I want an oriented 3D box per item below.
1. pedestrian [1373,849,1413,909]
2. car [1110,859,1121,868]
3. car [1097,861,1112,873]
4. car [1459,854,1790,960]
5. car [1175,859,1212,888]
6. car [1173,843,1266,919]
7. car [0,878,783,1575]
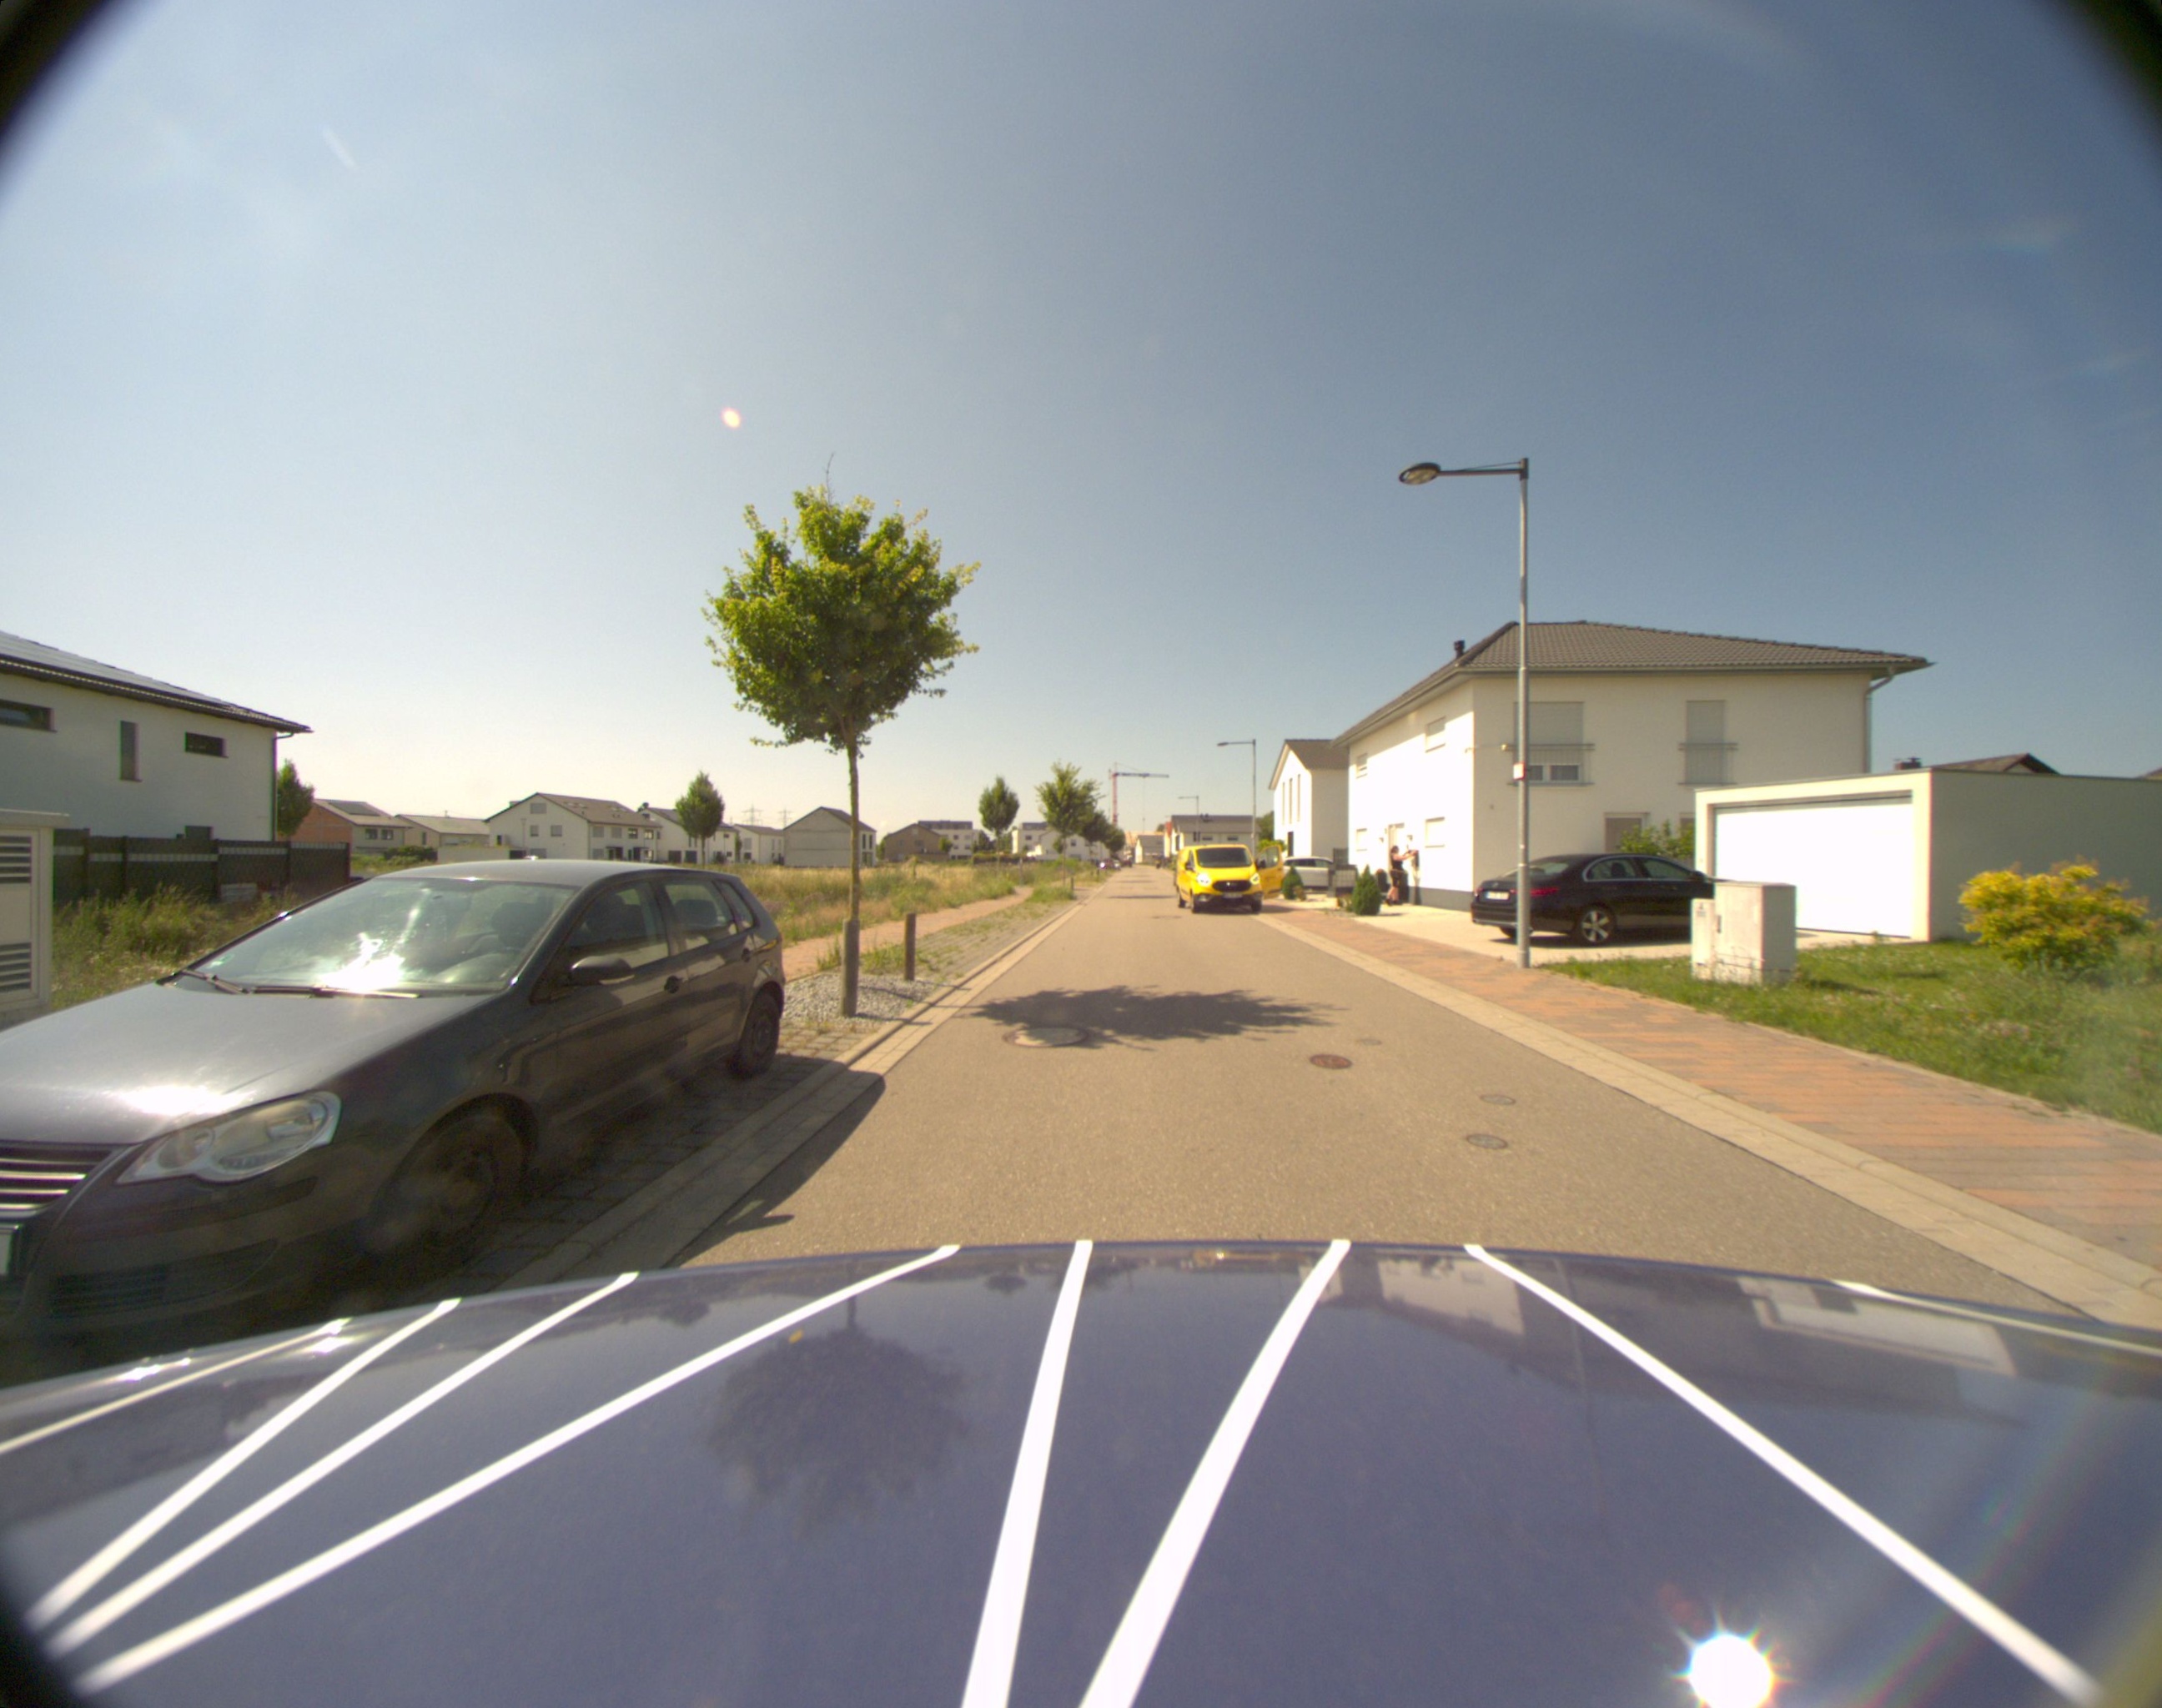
[{"bbox_3d":[8.963,0.710,21.844,0.931,1.675,0.538,-3,0,13],"label":"pedestrian"},{"bbox_3d":[5.212,1.388,114.654,1.492,1.389,3.273,0,0,4],"label":"car"},{"bbox_3d":[2.956,1.610,95.092,1.768,1.483,4.001,0,0,4],"label":"car"},{"bbox_3d":[8.730,0.784,12.352,4.407,1.444,1.747,-1,0,-9],"label":"car"},{"bbox_3d":[6.220,1.067,42.538,1.694,1.464,4.446,-2,0,4],"label":"car"},{"bbox_3d":[4.036,0.735,23.002,1.889,2.002,4.841,-1,0,0],"label":"car"},{"bbox_3d":[-2.989,0.921,3.603,1.602,1.466,3.675,2,0,1],"label":"car"}]
